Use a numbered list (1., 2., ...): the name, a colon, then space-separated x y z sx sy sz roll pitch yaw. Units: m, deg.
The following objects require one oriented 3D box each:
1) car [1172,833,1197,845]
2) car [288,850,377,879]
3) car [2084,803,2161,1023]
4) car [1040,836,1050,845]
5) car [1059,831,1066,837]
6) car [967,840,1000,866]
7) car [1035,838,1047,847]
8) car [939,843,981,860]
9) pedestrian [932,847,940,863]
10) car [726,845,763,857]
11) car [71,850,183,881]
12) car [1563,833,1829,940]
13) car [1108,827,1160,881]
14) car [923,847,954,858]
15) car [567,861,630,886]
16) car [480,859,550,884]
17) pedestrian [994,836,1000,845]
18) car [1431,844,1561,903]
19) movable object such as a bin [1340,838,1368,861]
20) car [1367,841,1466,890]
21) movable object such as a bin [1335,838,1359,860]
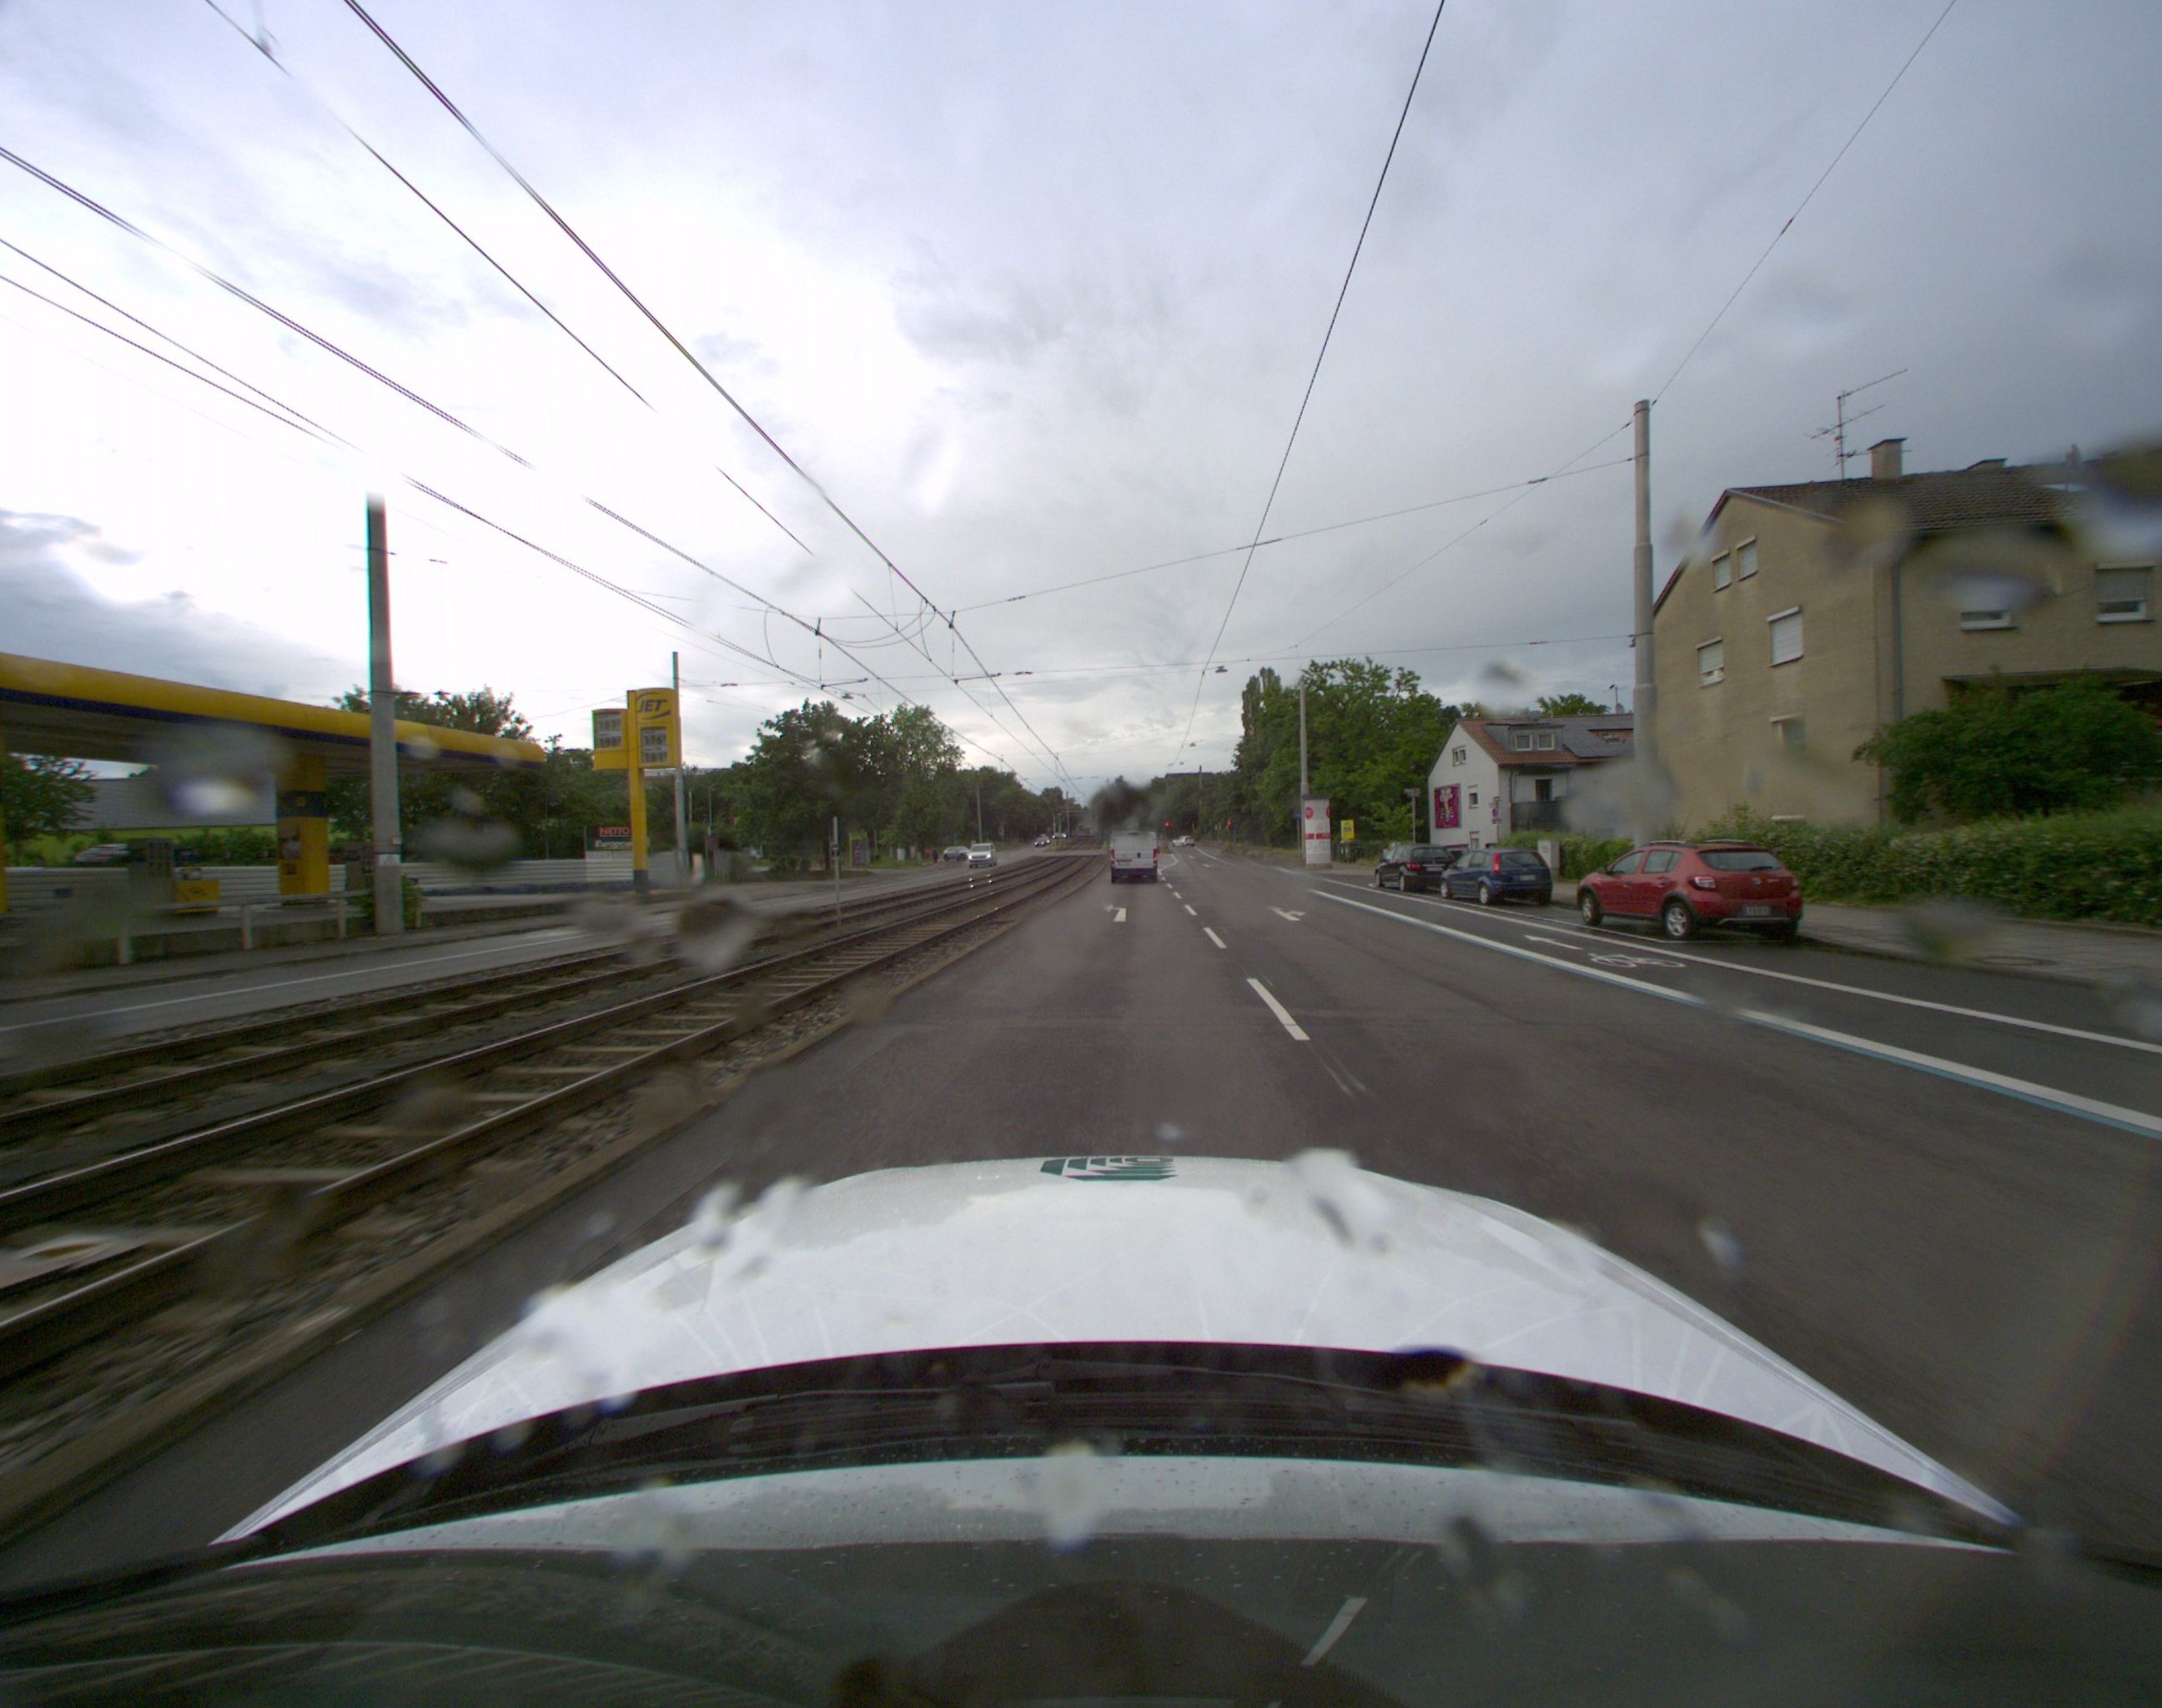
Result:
1. car: 14.178 -2.071 111.740 1.711 1.521 3.763 -1 2 -23
2. car: -43.488 0.592 47.442 1.683 1.618 3.993 0 0 -5
3. car: 9.461 0.475 4.732 1.840 1.756 4.525 0 0 2
4. car: -6.456 -2.406 146.535 1.595 1.402 3.792 -3 -1 1
5. car: -4.832 -5.317 216.654 1.595 1.401 3.793 0 2 1
6. car: -8.154 -0.128 68.386 1.987 2.013 5.060 -4 1 1
7. car: -6.608 -1.918 134.783 1.595 1.401 3.793 0 2 1
8. car: -14.199 -0.298 95.501 4.697 1.649 2.013 -3 1 37
9. pedestrian: -13.699 0.116 77.133 0.588 1.532 0.669 0 -1 2
10. car: -45.193 -0.385 109.442 4.188 1.533 1.837 0 0 -9
11. car: -53.226 0.637 45.548 1.683 1.618 3.993 0 0 -5
12. car: 10.530 0.483 14.396 1.829 1.628 4.104 0 0 4
13. car: 2.371 -0.033 37.042 2.137 2.283 5.067 -1 1 3
14. car: -18.901 -0.207 108.397 3.962 1.533 1.838 0 0 -7
15. car: -29.514 1.193 49.937 1.683 1.456 3.993 0 0 -5
16. car: -34.349 1.061 49.520 1.683 1.456 3.993 0 0 -5
17. pedestrian: -15.052 -2.375 146.269 1.011 1.600 1.039 -2 2 -4
18. car: 11.100 0.473 22.074 1.660 1.443 3.931 0 0 2
19. movable object such as a bin: 17.120 -0.271 51.070 1.306 1.418 1.300 0 -1 1
20. car: 11.441 0.336 28.119 1.829 1.533 4.444 0 1 3
21. movable object such as a bin: 17.180 -0.336 52.572 1.180 1.418 1.135 0 -1 1
